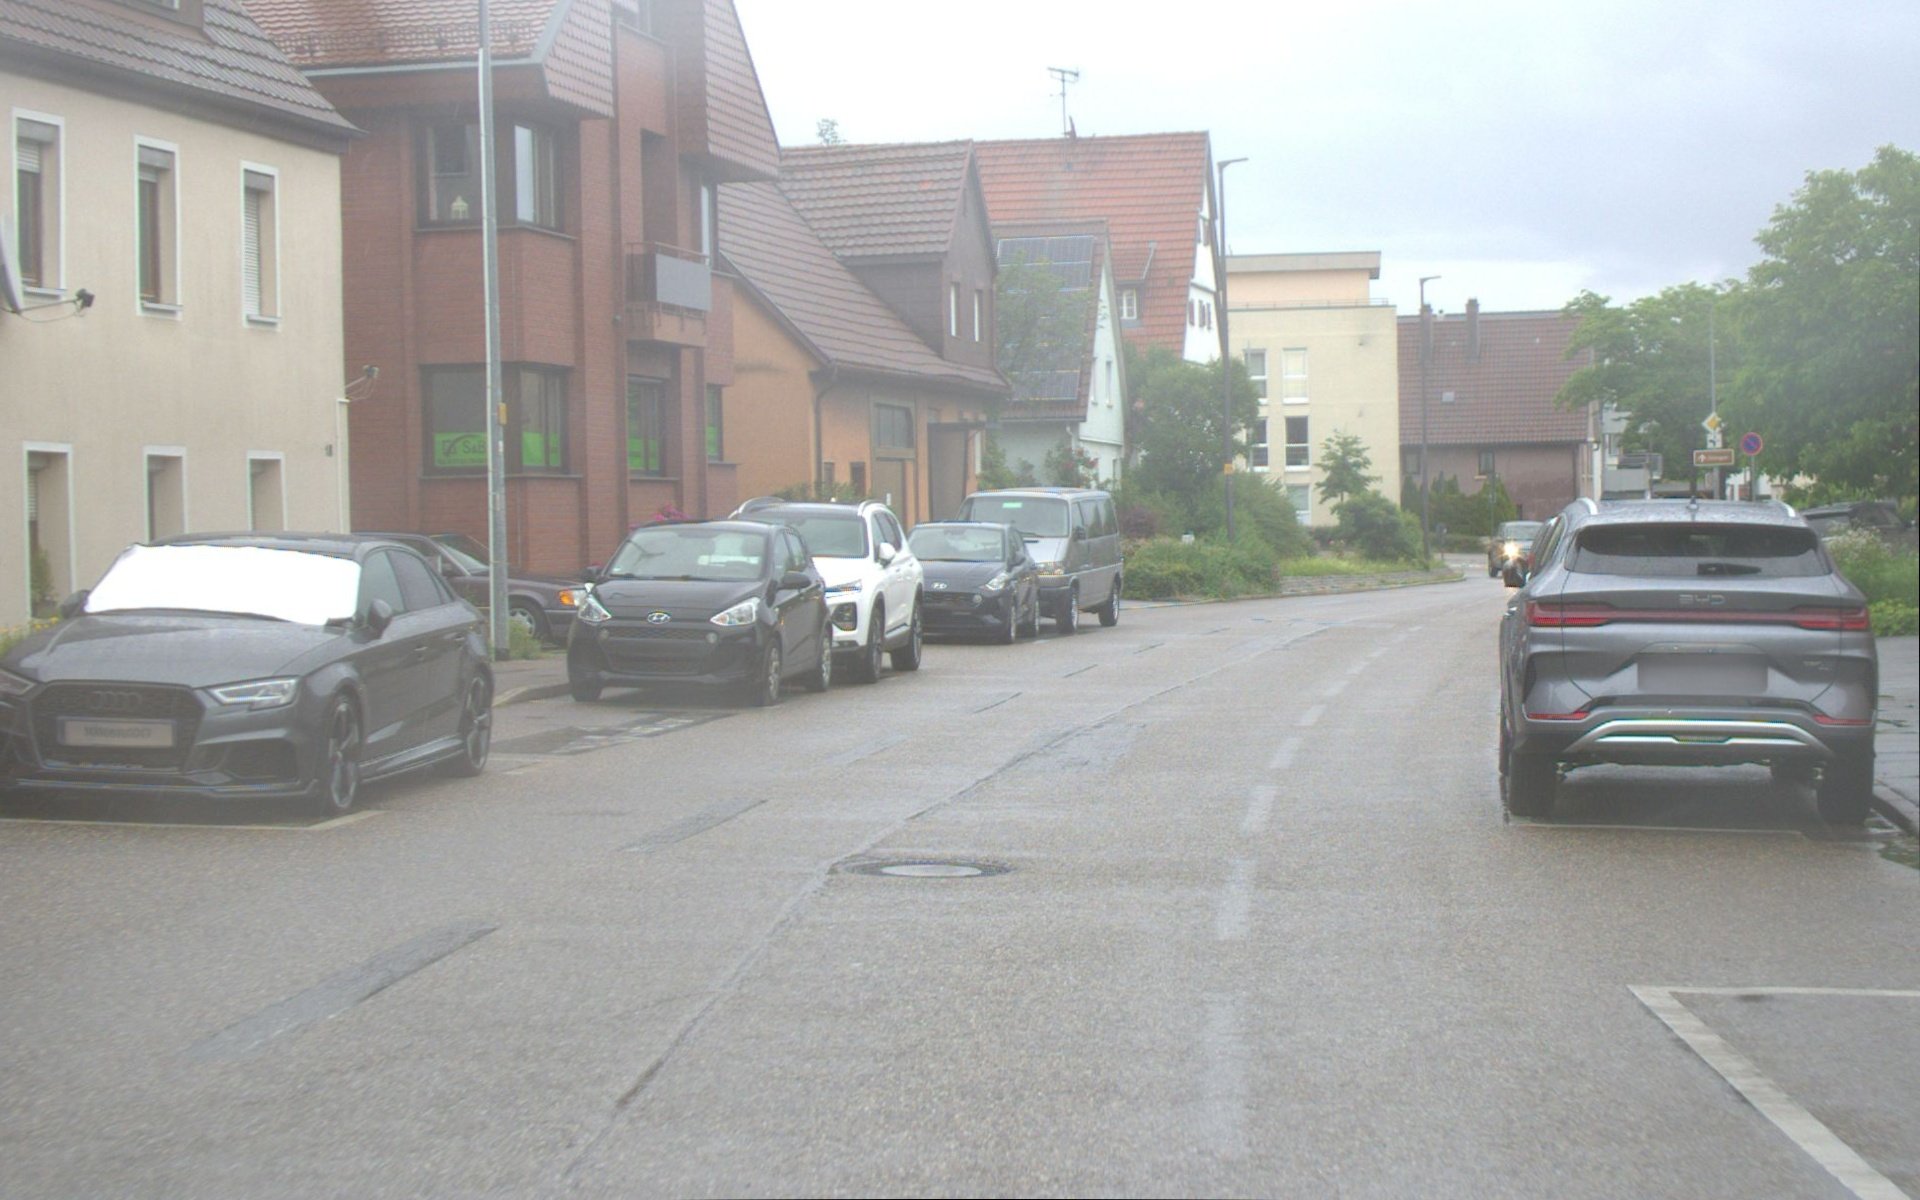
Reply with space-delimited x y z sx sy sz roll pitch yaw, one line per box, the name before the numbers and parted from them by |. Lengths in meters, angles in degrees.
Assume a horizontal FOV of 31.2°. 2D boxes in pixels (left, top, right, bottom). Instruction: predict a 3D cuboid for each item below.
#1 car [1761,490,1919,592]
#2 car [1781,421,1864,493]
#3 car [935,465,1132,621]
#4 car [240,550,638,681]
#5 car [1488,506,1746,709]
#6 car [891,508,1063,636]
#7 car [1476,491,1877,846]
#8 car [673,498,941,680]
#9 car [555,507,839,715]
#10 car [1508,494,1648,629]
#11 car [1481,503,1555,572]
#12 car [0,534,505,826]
car | 14.932 -1.010 57.306 1.762 1.389 3.993 -7 -1 32
car | 18.175 -2.991 72.411 1.639 1.425 3.675 -1 1 14
car | 1.088 -0.799 47.608 1.822 2.007 5.212 -1 1 11
car | -6.031 0.175 39.935 4.175 1.398 1.788 -1 1 16
car | 5.556 0.025 29.532 1.803 1.589 4.611 1 1 6
car | 0.252 -0.363 42.582 1.579 1.492 3.566 -1 1 9
car | 3.898 0.286 19.297 1.909 1.711 4.554 1 1 9
car | -1.401 -0.139 33.355 1.765 1.613 4.655 -1 1 8
car | -2.128 0.059 28.637 1.606 1.612 3.275 -1 1 9
car | 8.248 -0.527 45.992 1.750 1.704 3.999 -1 1 10
car | 16.478 -1.872 101.543 1.799 1.634 3.999 13 4 9
car | -3.783 0.340 18.466 1.627 1.351 4.110 1 1 7
